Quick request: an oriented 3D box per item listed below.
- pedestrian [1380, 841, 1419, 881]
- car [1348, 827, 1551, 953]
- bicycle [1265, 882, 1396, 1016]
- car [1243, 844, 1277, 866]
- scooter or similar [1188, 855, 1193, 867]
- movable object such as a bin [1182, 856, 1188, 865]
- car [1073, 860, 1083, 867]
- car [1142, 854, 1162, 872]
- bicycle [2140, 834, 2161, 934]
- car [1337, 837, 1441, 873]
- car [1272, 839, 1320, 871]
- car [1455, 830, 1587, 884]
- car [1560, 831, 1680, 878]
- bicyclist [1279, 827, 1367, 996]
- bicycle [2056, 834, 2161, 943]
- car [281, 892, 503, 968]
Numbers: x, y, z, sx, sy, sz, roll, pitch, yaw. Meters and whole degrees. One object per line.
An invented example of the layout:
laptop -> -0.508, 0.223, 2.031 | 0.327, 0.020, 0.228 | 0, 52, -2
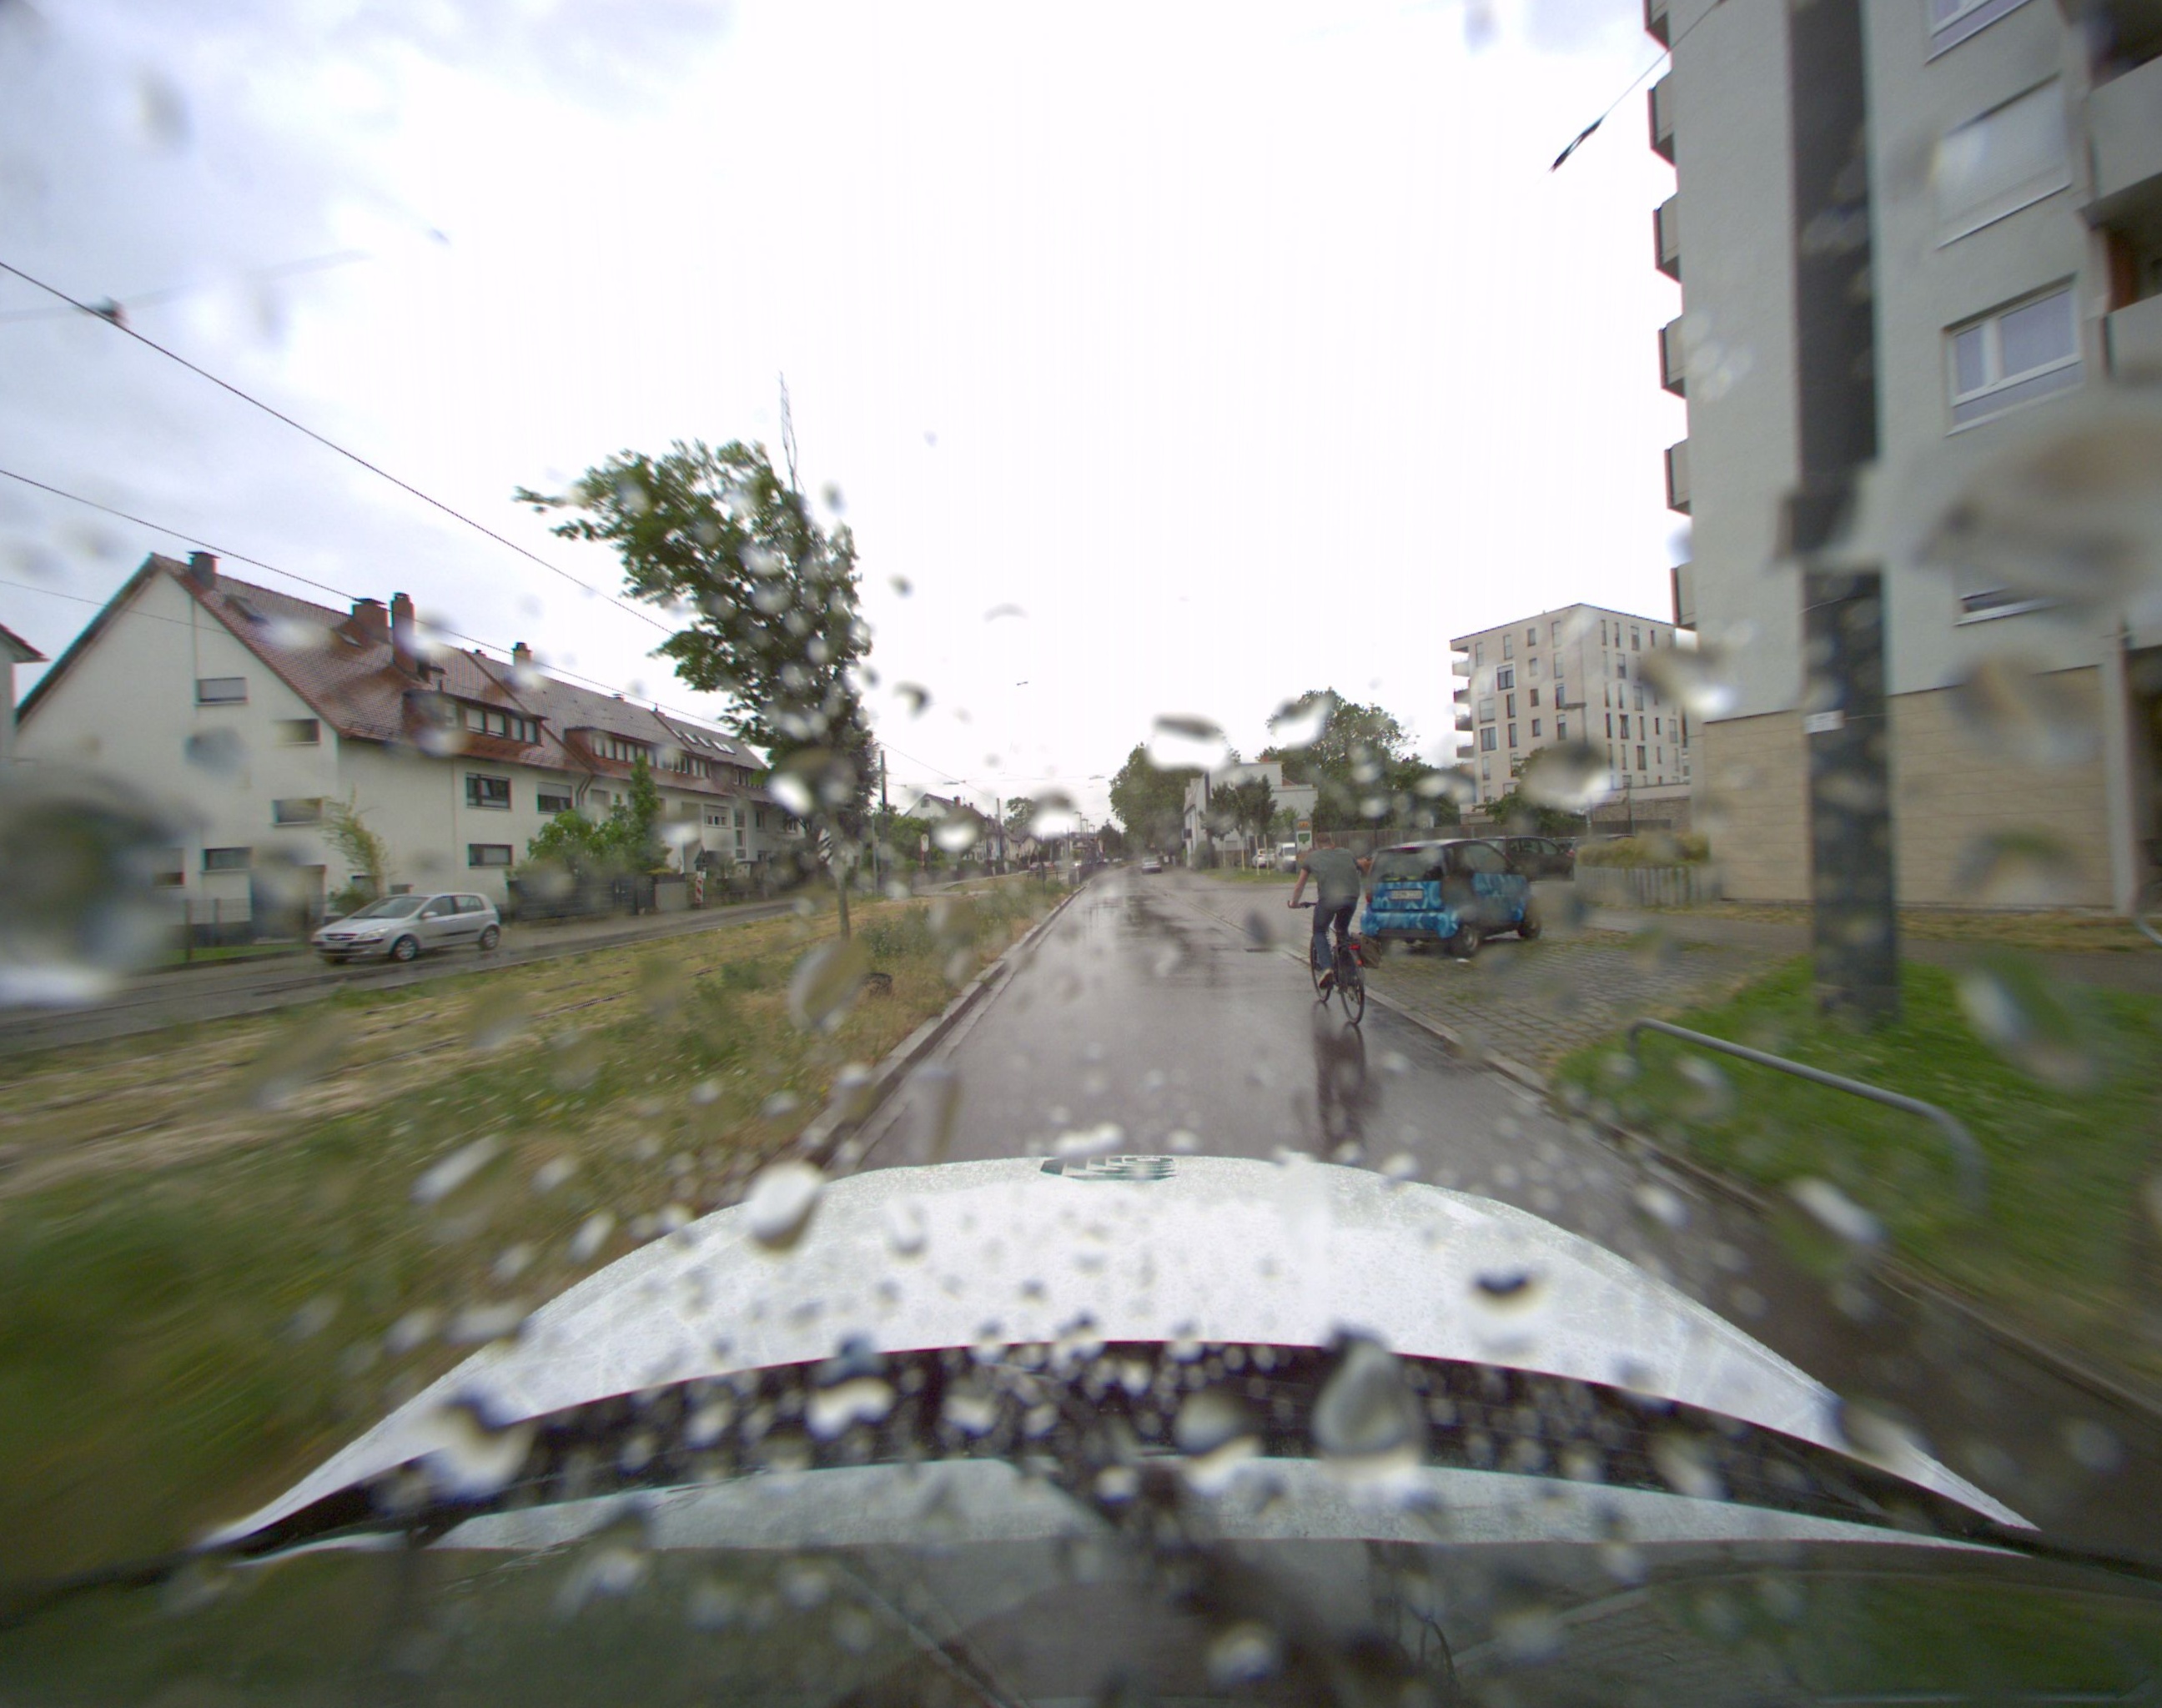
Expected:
pedestrian -> 12.455, 0.293, 31.850 | 0.840, 1.517, 1.085 | -1, -1, -27
car -> 5.318, 0.463, 11.706 | 2.578, 1.548, 1.584 | -3, -1, -38
bicycle -> 2.352, 0.840, 7.924 | 0.535, 1.093, 1.946 | -2, -1, -3
car -> 13.483, 0.061, 61.637 | 1.954, 1.535, 4.370 | -2, 0, 5
scooter or similar -> 9.595, 0.601, 71.161 | 0.331, 1.085, 1.399 | -2, -1, 9
movable object such as a bin -> 12.422, 0.768, 97.089 | 0.534, 1.022, 0.739 | -5, -1, 3
car -> -0.600, 1.990, 174.921 | 1.626, 1.493, 4.005 | -2, -1, 5
car -> 6.295, 0.851, 72.543 | 1.643, 1.405, 4.654 | -6, -1, 4
bicycle -> 11.221, 0.279, 7.348 | 0.659, 1.006, 2.059 | -2, -1, 2
car -> 13.487, 0.067, 35.852 | 2.004, 1.441, 3.966 | -1, -1, -26
car -> 12.892, 0.042, 49.024 | 1.954, 1.784, 4.904 | -2, 0, 5
car -> 14.205, 0.070, 26.269 | 4.124, 1.616, 1.798 | -1, 0, -29
car -> 19.090, -0.013, 28.826 | 4.124, 1.533, 1.798 | -1, 0, -29
bicyclist -> 2.354, 0.540, 7.983 | 0.533, 1.559, 0.771 | -2, -1, -5
bicycle -> 10.337, 0.307, 7.333 | 0.659, 1.006, 2.059 | -2, -1, 2
car -> -15.663, 1.679, 18.810 | 1.987, 1.414, 3.657 | -2, -1, 0
